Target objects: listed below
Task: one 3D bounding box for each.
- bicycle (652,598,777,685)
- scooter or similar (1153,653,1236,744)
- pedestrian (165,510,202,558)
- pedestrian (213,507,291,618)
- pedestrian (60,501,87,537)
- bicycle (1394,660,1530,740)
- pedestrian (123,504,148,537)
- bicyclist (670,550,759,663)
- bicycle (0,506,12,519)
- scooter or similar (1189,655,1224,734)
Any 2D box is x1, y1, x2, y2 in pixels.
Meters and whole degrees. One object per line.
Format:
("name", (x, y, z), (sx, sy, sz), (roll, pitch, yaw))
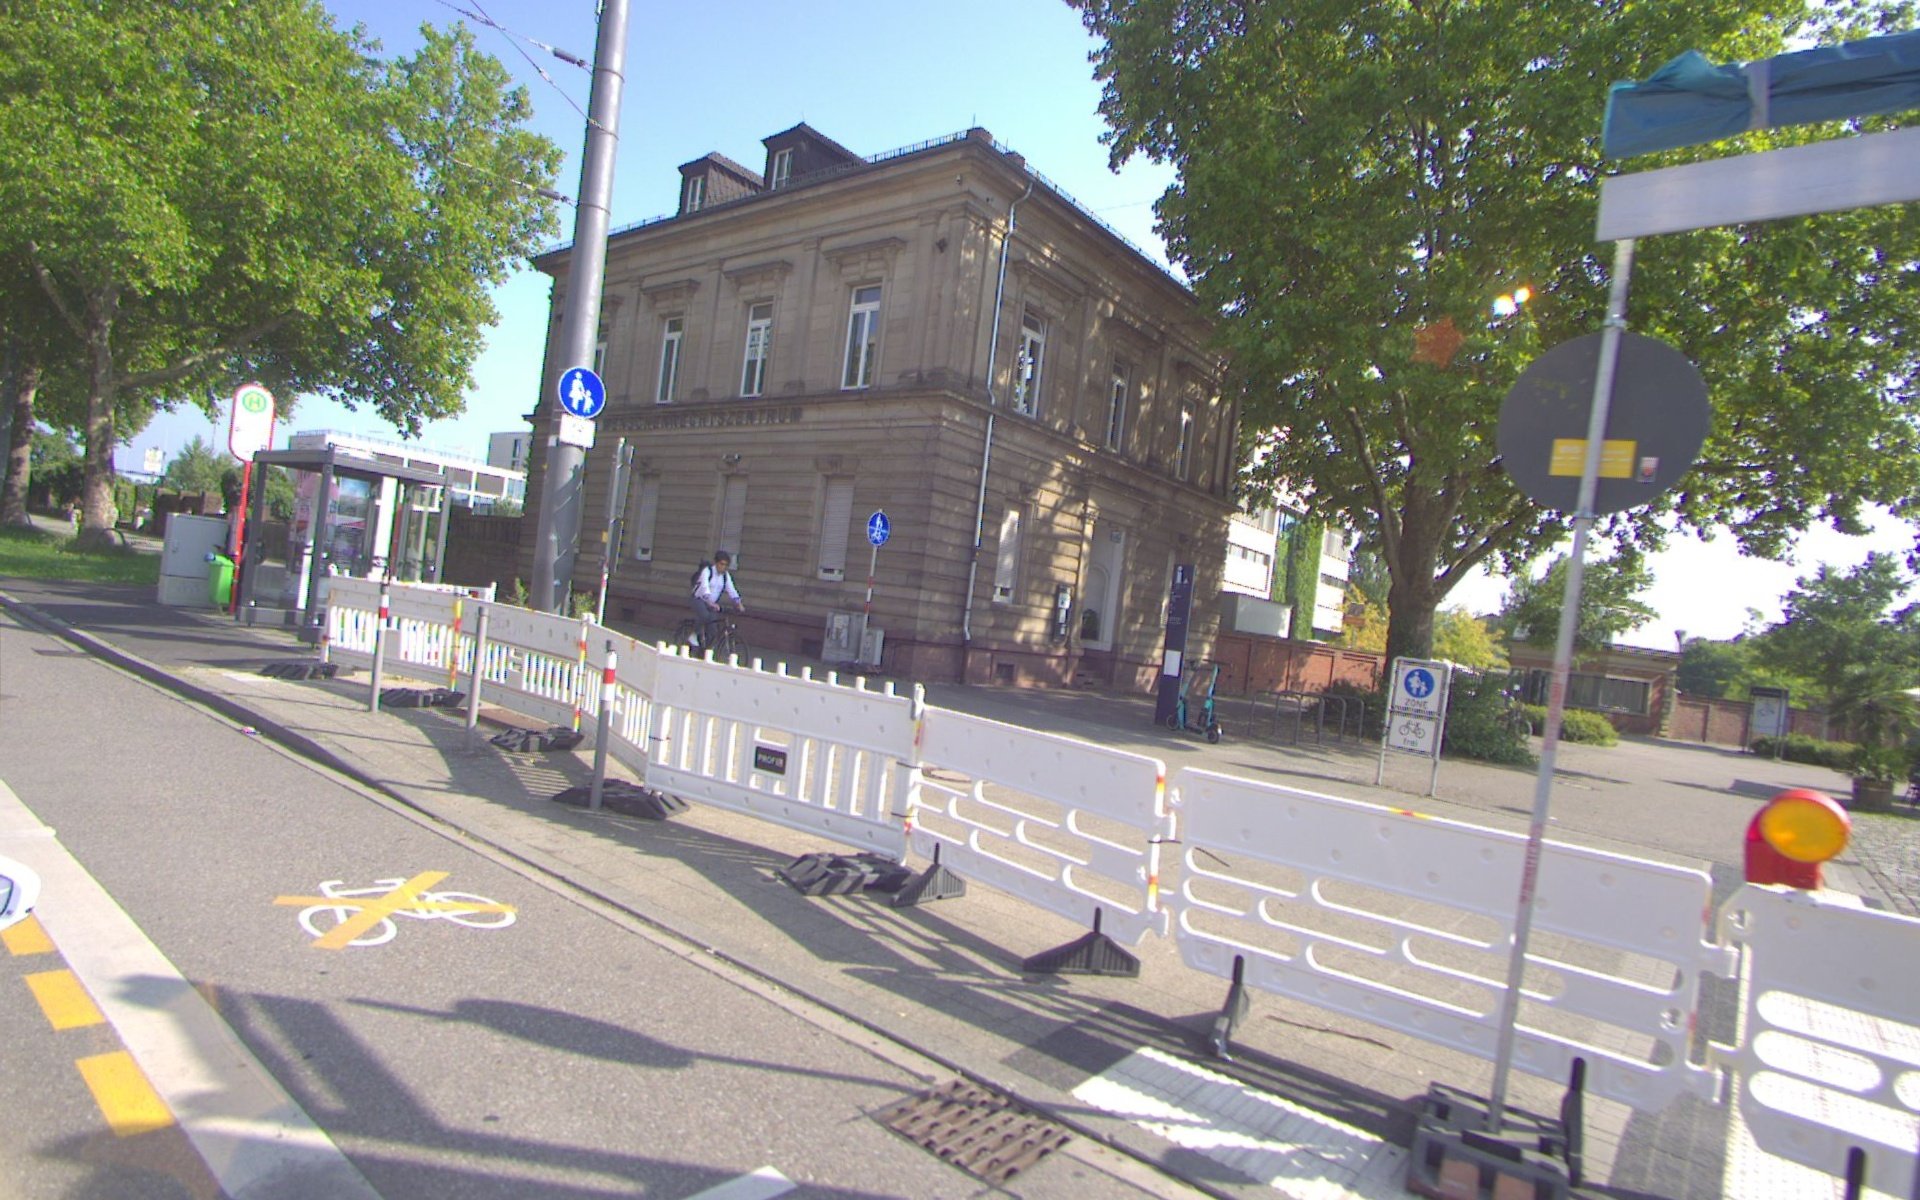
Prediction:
("bicycle", (-3.691, 0.606, 15.051), (1.874, 1.055, 0.717), (7, 0, 38))
("scooter or similar", (3.699, 1.545, 15.946), (0.417, 1.225, 1.246), (6, 2, -28))
("pedestrian", (-29.796, -2.549, 38.607), (0.997, 1.707, 0.818), (7, 1, 40))
("pedestrian", (-11.702, -0.611, 16.642), (0.636, 1.718, 0.690), (7, 1, 19))
("pedestrian", (-43.074, -3.930, 48.872), (0.934, 1.657, 0.804), (6, 2, 40))
("bicycle", (14.411, 2.843, 28.968), (3.237, 1.824, 0.846), (6, 0, 39))
("pedestrian", (-43.824, -4.215, 53.487), (0.934, 1.624, 0.804), (6, 2, 40))
("bicyclist", (-3.680, 0.098, 15.082), (0.941, 1.562, 0.717), (7, 1, 37))
("bicycle", (-77.374, -7.096, 80.912), (1.651, 0.982, 0.500), (5, 1, -45))
("scooter or similar", (4.276, 1.609, 17.409), (0.414, 1.225, 1.255), (8, 2, 15))
